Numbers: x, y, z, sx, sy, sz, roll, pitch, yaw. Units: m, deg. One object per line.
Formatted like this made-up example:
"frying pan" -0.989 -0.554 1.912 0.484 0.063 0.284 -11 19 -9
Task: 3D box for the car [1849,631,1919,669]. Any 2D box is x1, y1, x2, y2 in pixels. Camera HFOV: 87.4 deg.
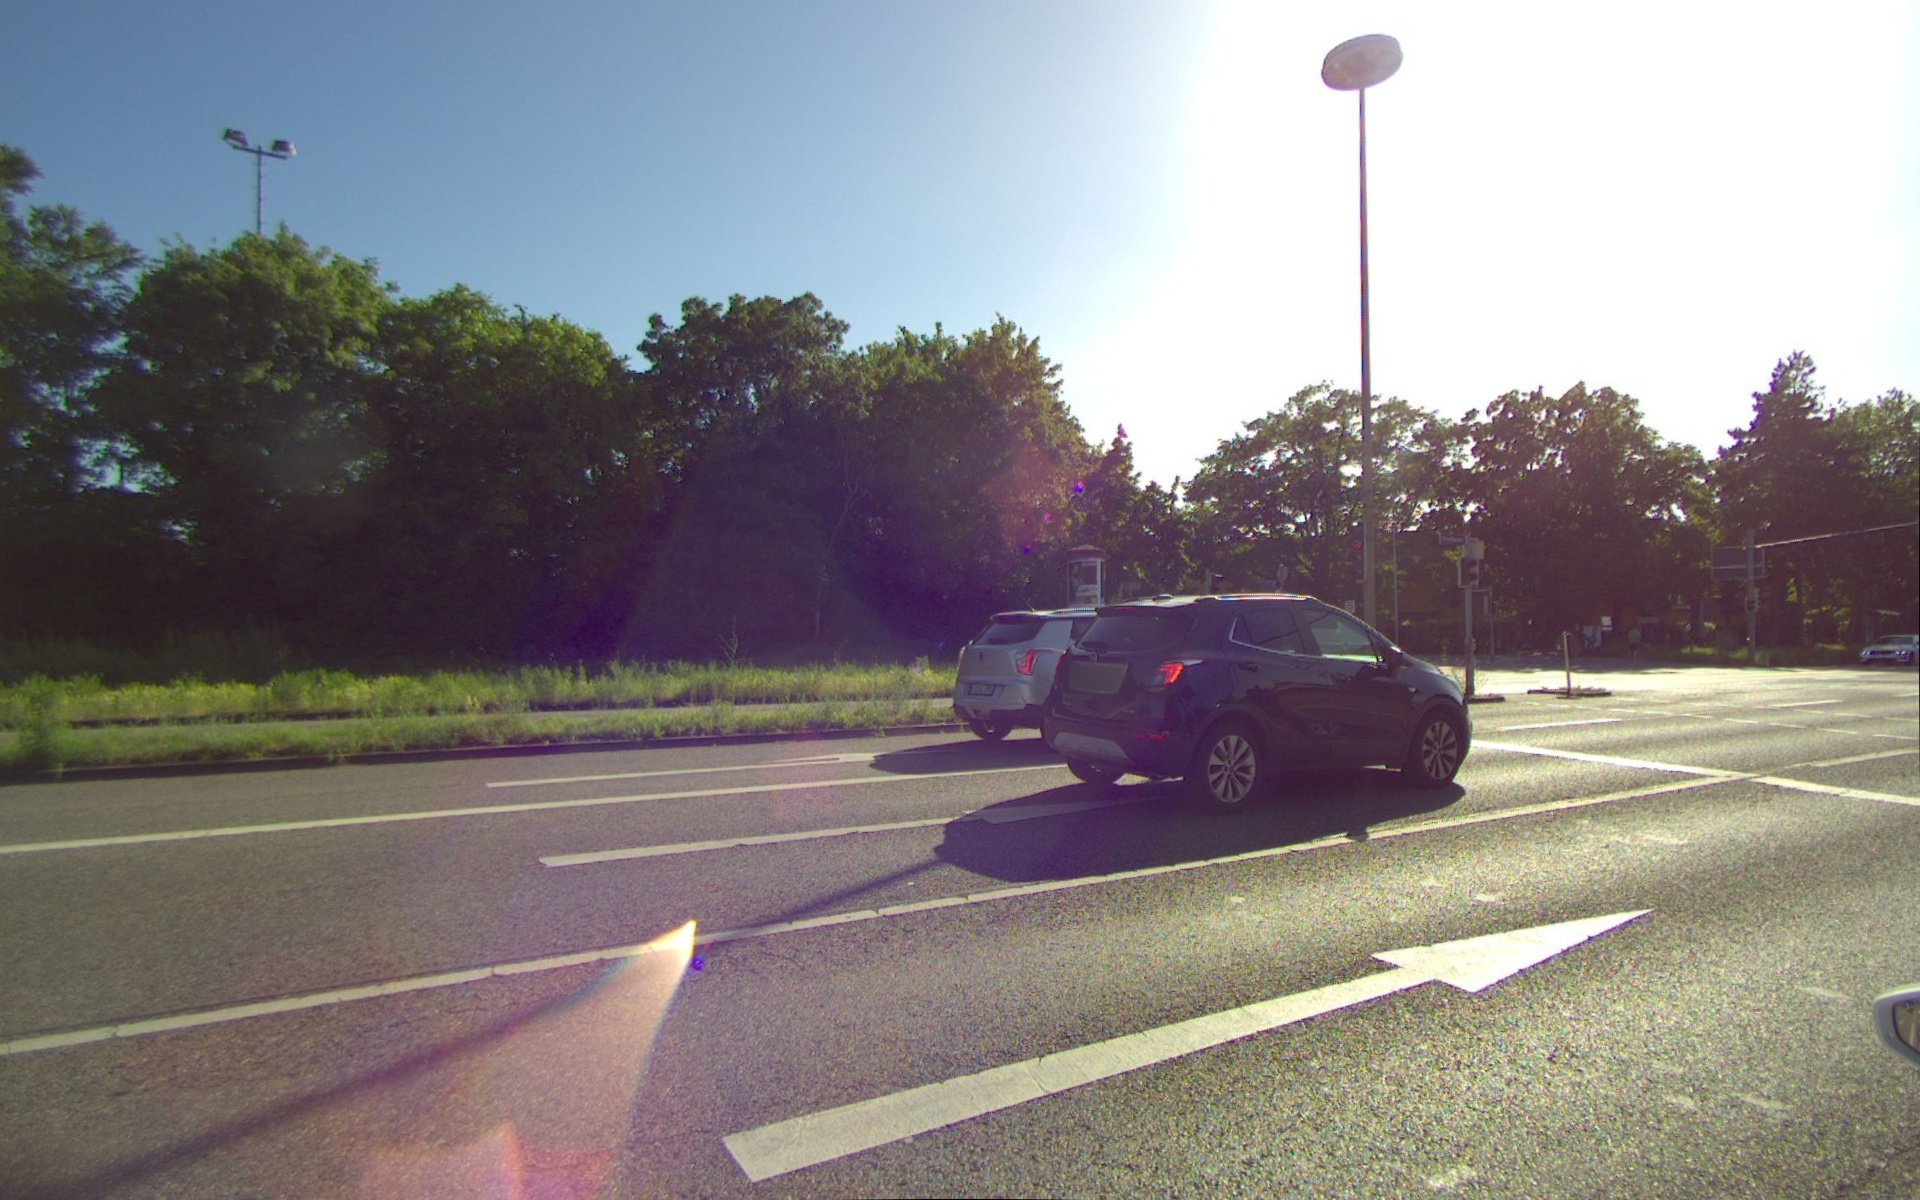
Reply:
"car" 44.765 2.383 48.230 4.210 1.706 1.855 2 0 -30

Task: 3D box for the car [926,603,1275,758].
"car" 1.780 0.912 12.391 4.058 1.631 1.776 1 -2 -30

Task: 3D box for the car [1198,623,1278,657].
"car" 13.548 1.929 49.173 1.841 1.442 3.914 2 0 -19

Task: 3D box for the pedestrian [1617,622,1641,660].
"pedestrian" 33.394 2.040 50.136 0.542 1.859 0.843 1 -2 -26

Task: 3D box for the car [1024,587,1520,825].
"car" 2.842 0.801 8.846 4.366 1.653 1.688 1 -2 -30
